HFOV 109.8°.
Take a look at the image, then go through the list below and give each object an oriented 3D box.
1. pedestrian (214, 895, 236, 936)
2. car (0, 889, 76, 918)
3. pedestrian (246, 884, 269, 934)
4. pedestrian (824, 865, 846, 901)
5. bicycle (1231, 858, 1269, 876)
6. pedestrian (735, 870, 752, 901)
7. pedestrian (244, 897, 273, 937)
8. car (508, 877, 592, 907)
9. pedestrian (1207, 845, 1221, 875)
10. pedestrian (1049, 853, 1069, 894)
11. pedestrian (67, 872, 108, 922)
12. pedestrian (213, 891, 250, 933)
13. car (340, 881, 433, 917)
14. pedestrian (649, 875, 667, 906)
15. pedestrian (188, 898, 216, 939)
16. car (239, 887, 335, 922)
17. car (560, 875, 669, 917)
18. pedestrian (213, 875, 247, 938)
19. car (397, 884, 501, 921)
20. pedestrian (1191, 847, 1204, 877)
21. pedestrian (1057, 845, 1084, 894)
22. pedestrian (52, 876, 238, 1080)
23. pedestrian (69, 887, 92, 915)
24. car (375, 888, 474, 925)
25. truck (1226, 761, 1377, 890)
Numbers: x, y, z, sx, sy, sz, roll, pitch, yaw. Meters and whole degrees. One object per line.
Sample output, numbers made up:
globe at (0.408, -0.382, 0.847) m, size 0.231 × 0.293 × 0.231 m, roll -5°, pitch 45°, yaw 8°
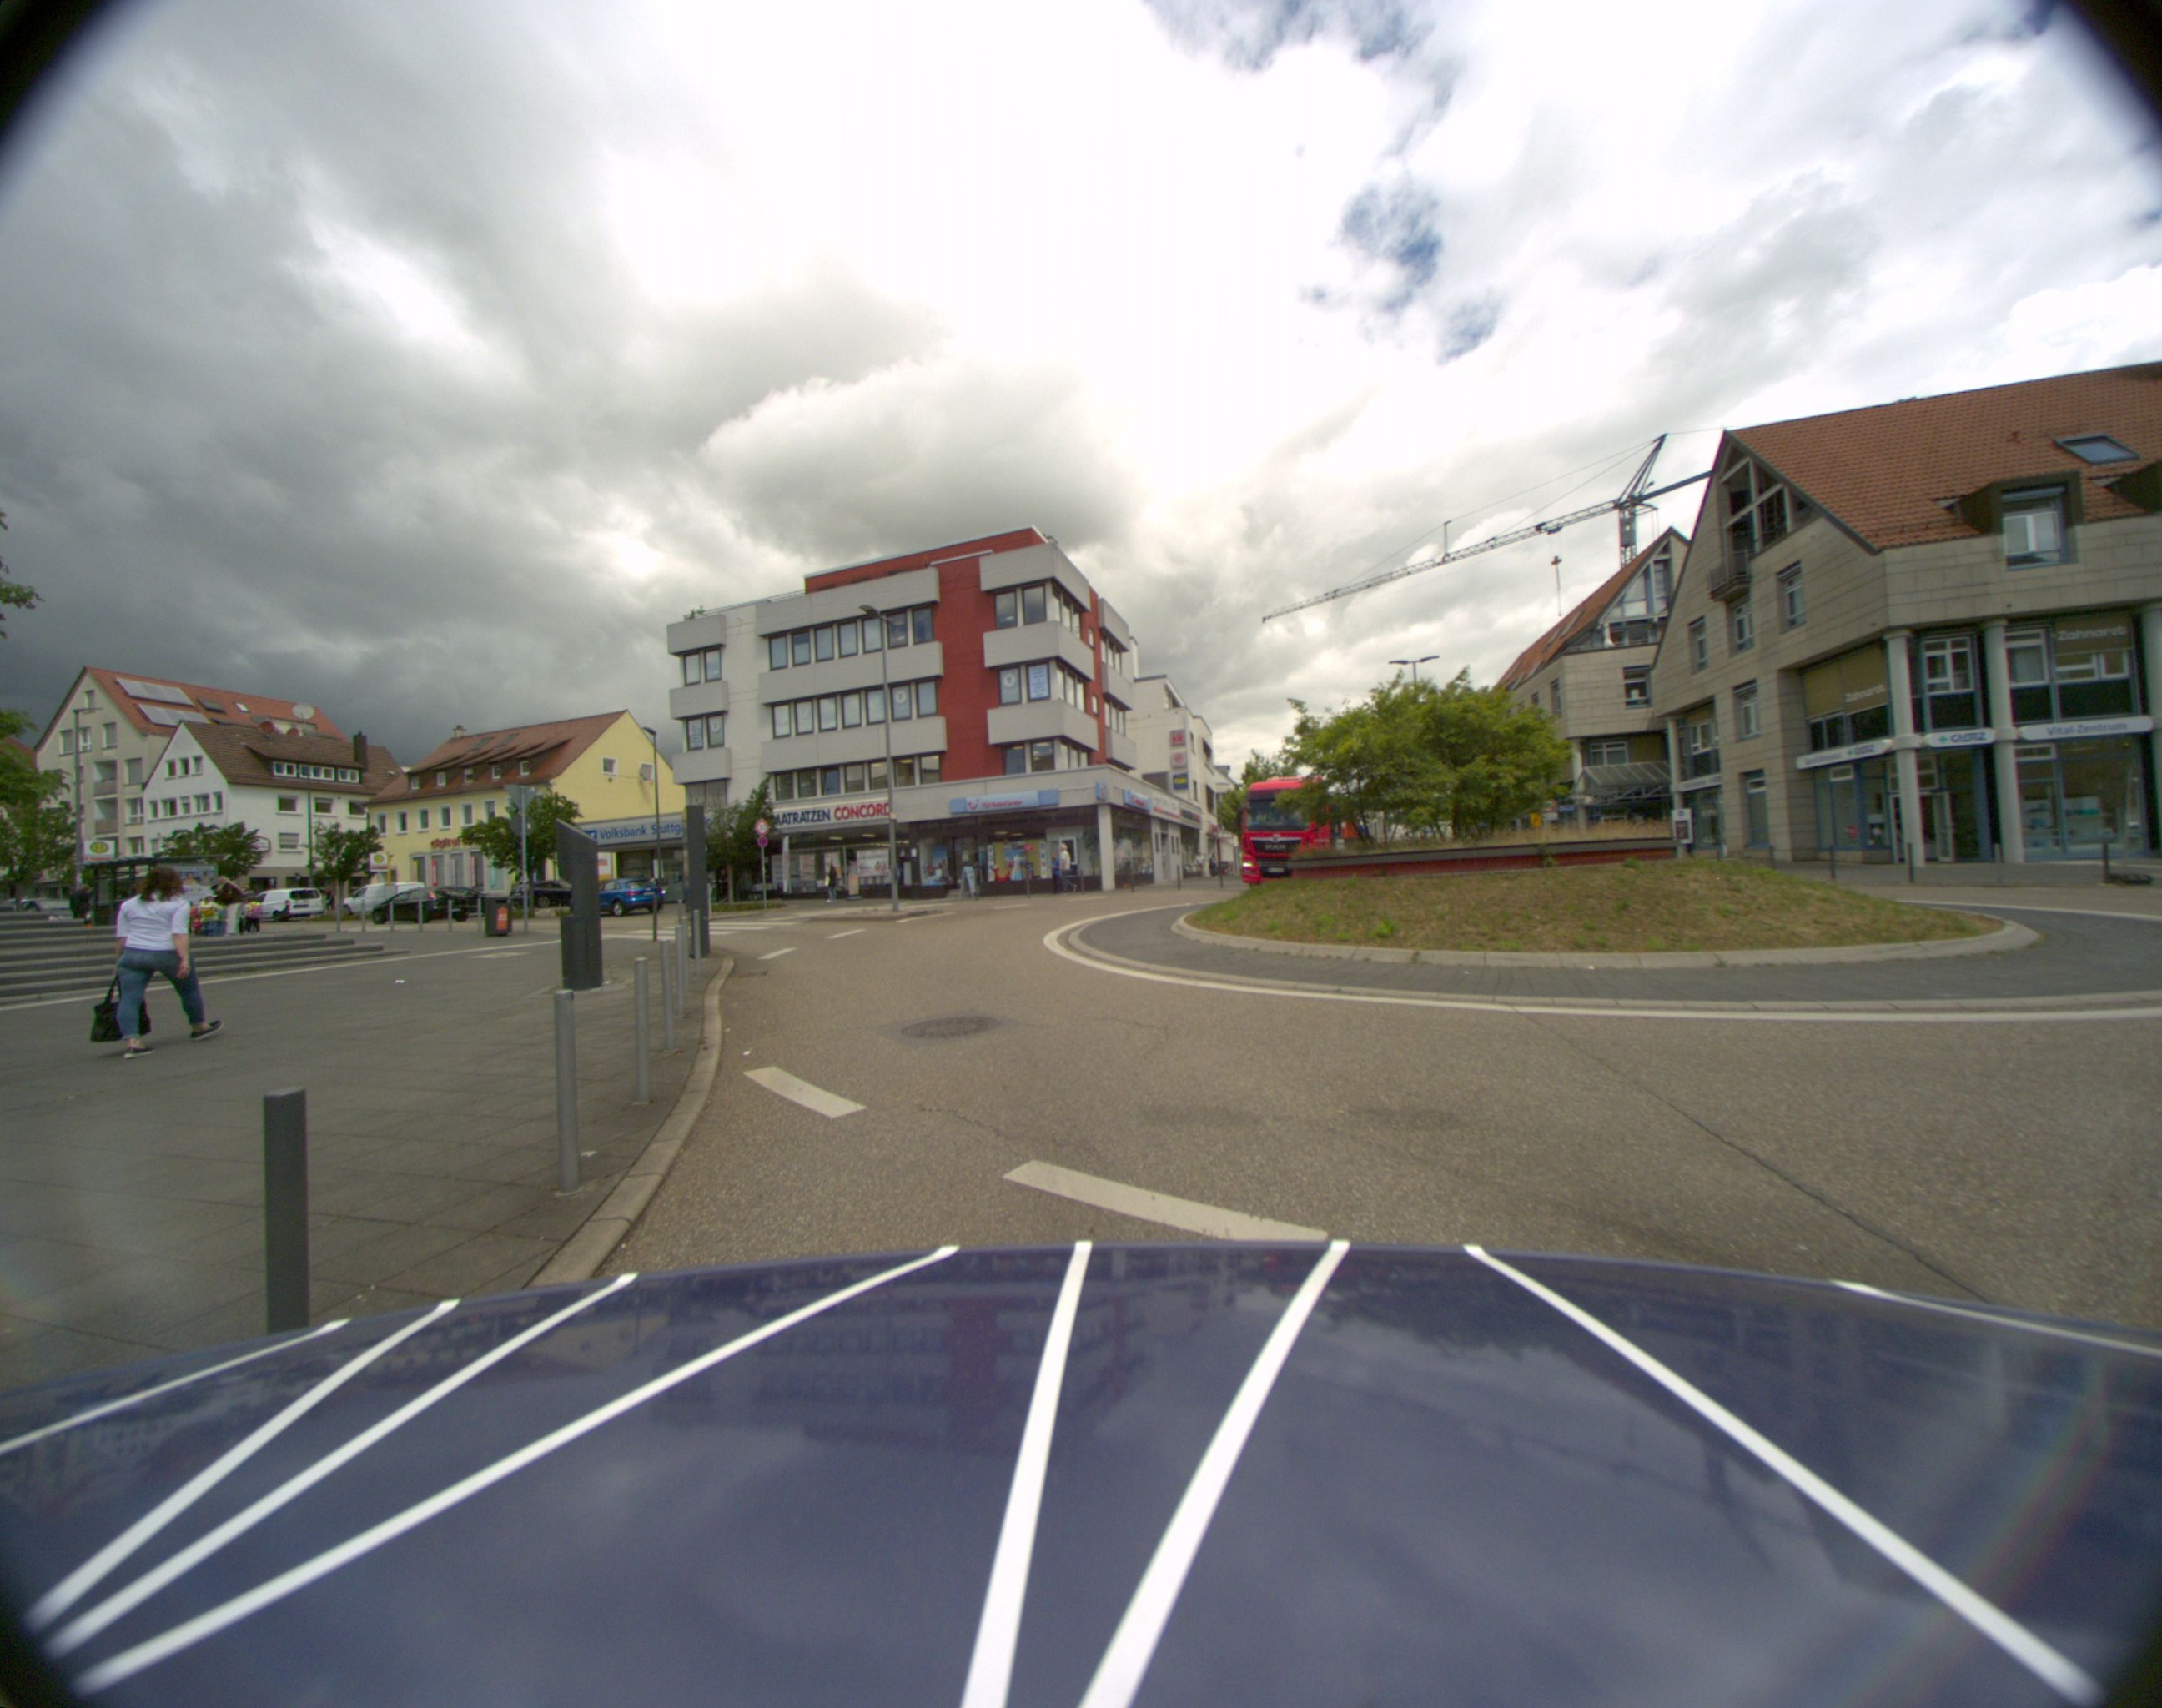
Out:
pedestrian at (-25.282, 1.808, 22.444) m, size 0.392 × 1.191 × 0.510 m, roll 1°, pitch -3°, yaw -45°
car at (-65.530, 3.100, 47.658) m, size 4.125 × 1.637 × 1.673 m, roll -2°, pitch 1°, yaw 17°
pedestrian at (-27.277, 1.812, 25.173) m, size 0.389 × 1.609 × 0.468 m, roll 0°, pitch -3°, yaw -36°
pedestrian at (-11.000, 1.304, 33.937) m, size 0.637 × 1.579 × 0.589 m, roll -2°, pitch 1°, yaw 17°
bicycle at (9.515, 0.722, 42.713) m, size 2.062 × 0.940 × 0.522 m, roll -2°, pitch 0°, yaw 14°
pedestrian at (-19.120, 1.799, 43.056) m, size 0.586 × 1.694 × 0.646 m, roll -4°, pitch -2°, yaw 10°
pedestrian at (-24.784, 1.899, 22.904) m, size 0.390 × 1.165 × 0.477 m, roll -2°, pitch -3°, yaw 23°
car at (-30.341, 2.148, 43.524) m, size 1.665 × 1.549 × 3.644 m, roll -2°, pitch 0°, yaw 19°
pedestrian at (7.772, 0.362, 44.420) m, size 0.509 × 1.745 × 0.539 m, roll -2°, pitch 0°, yaw 37°
pedestrian at (-0.896, 0.787, 30.454) m, size 0.606 × 1.594 × 0.568 m, roll -3°, pitch 0°, yaw -18°
pedestrian at (-33.251, 1.437, 25.430) m, size 0.685 × 1.627 × 0.802 m, roll -2°, pitch -1°, yaw 34°
pedestrian at (-26.557, 1.814, 23.751) m, size 0.600 × 1.295 × 0.433 m, roll 0°, pitch -3°, yaw -13°
car at (-38.581, 2.504, 42.222) m, size 4.467 × 1.803 × 1.764 m, roll -2°, pitch 1°, yaw 18°
pedestrian at (-21.683, 1.879, 38.956) m, size 0.585 × 1.556 × 0.512 m, roll -2°, pitch -2°, yaw 21°
pedestrian at (-24.963, 1.821, 21.580) m, size 0.382 × 1.141 × 0.441 m, roll -2°, pitch -2°, yaw 27°
car at (-42.227, 2.692, 40.435) m, size 4.342 × 1.662 × 1.663 m, roll -2°, pitch 0°, yaw 16°
car at (-20.172, 1.822, 32.878) m, size 4.321 × 1.591 × 1.702 m, roll -2°, pitch 2°, yaw 22°
pedestrian at (-24.750, 1.526, 22.090) m, size 0.434 × 1.811 × 0.542 m, roll -2°, pitch -3°, yaw 29°
car at (-30.646, 2.332, 36.987) m, size 3.742 × 1.515 × 1.891 m, roll -1°, pitch 1°, yaw -35°
pedestrian at (6.837, 0.456, 44.610) m, size 0.680 × 1.745 × 0.511 m, roll -3°, pitch 0°, yaw 14°
pedestrian at (-0.398, 0.584, 29.528) m, size 0.679 × 1.864 × 0.807 m, roll -3°, pitch 0°, yaw 25°
pedestrian at (-8.570, 1.083, 7.000) m, size 0.707 × 1.735 × 0.776 m, roll -2°, pitch 0°, yaw -8°
pedestrian at (-64.386, 3.024, 48.915) m, size 0.776 × 1.751 × 0.663 m, roll 0°, pitch 0°, yaw 18°
car at (-28.410, 2.243, 32.866) m, size 4.109 × 1.411 × 1.706 m, roll -2°, pitch 1°, yaw 26°
truck at (8.776, -0.921, 28.906) m, size 2.959 × 4.004 × 10.615 m, roll -2°, pitch 0°, yaw 30°
